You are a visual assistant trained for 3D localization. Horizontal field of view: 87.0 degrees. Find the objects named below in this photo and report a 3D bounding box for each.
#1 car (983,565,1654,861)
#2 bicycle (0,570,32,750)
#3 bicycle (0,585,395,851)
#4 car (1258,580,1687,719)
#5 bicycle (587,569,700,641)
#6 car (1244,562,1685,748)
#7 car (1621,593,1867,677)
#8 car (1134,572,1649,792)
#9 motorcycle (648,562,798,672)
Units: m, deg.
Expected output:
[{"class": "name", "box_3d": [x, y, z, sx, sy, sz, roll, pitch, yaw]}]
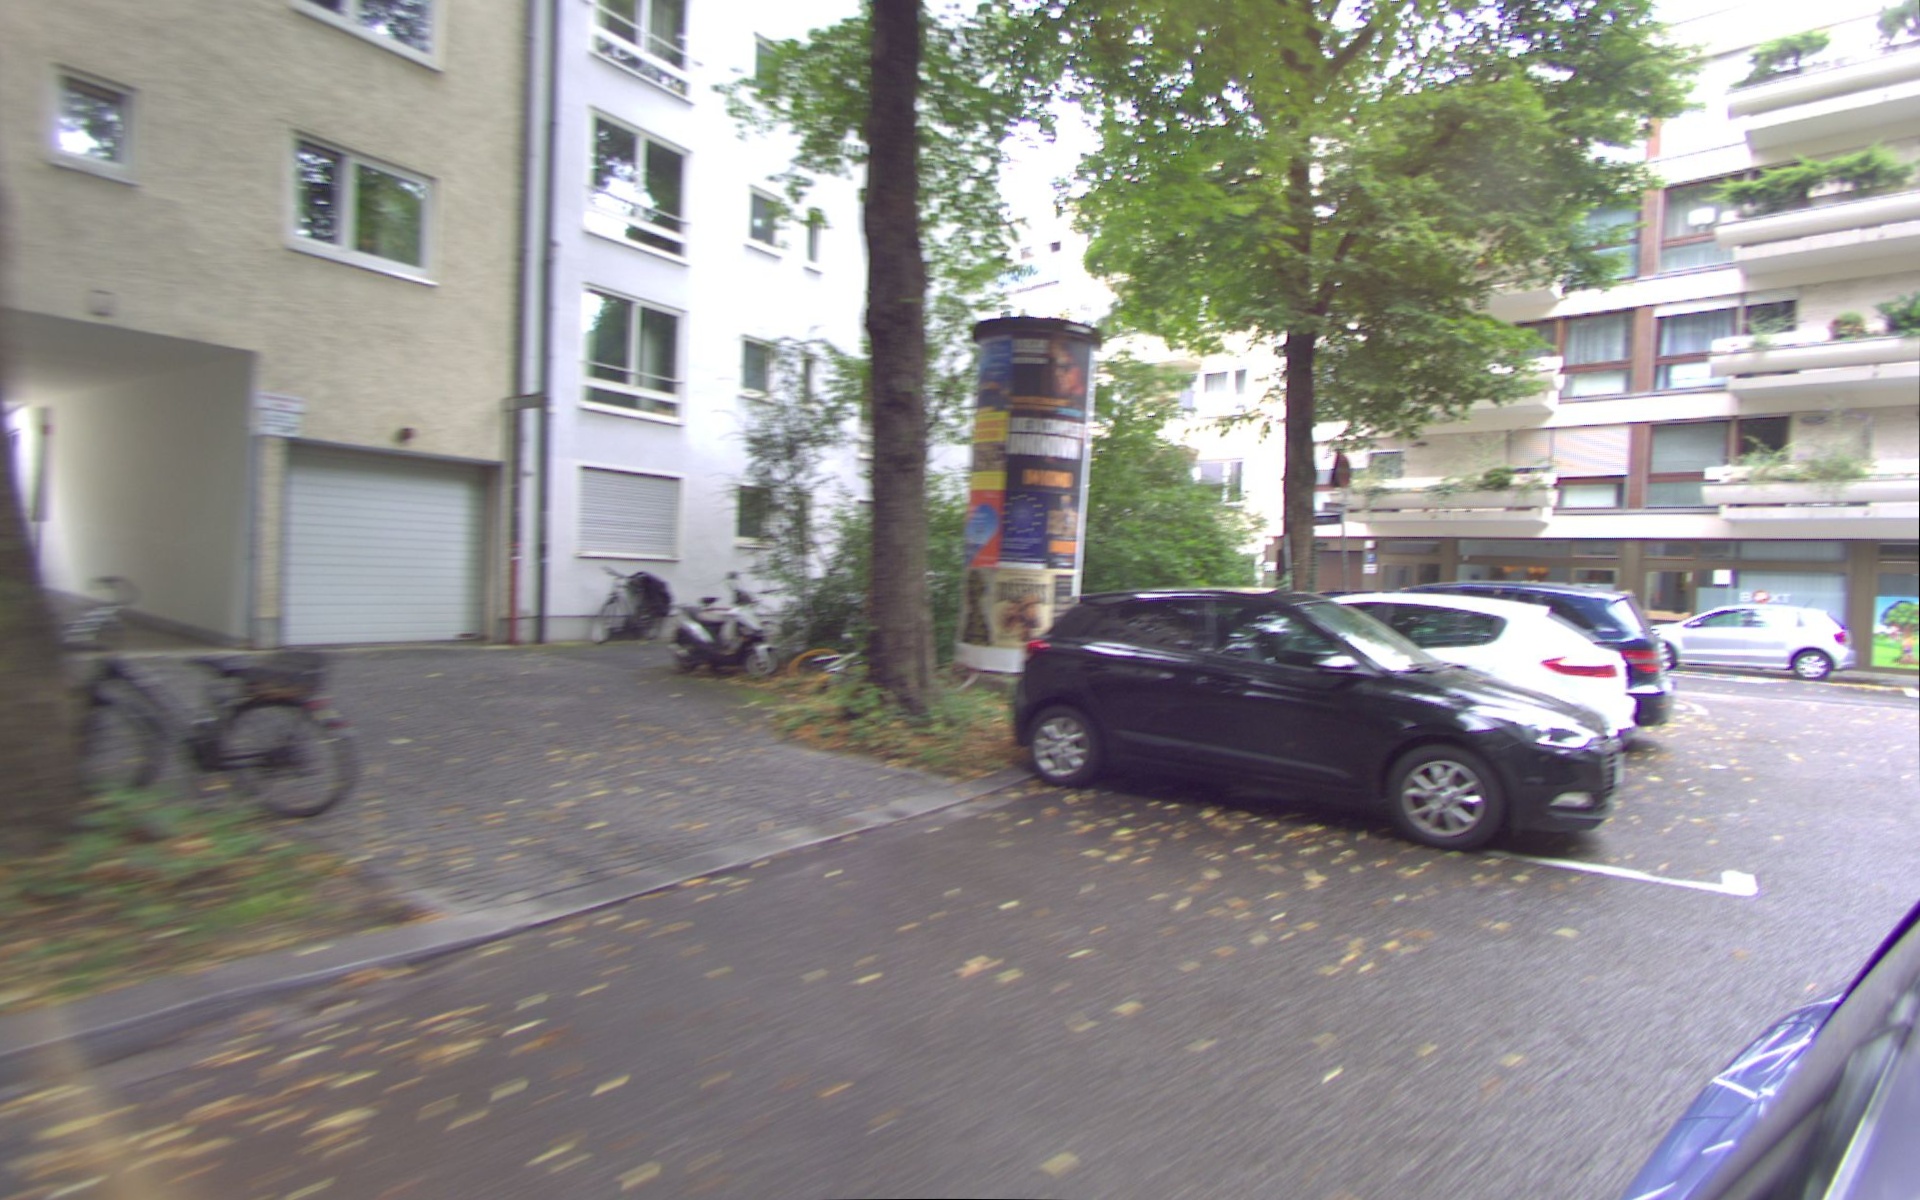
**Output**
[{"class": "car", "box_3d": [2.304, 0.524, 7.069, 4.075, 1.411, 1.711, 3, 2, 39]}, {"class": "bicycle", "box_3d": [-6.977, 0.352, 6.717, 1.857, 1.138, 0.536, 2, 1, 25]}, {"class": "bicycle", "box_3d": [-3.999, 0.548, 5.125, 1.834, 1.178, 0.767, 2, 1, 0]}, {"class": "car", "box_3d": [6.549, 0.512, 13.276, 4.700, 1.394, 1.937, 3, 2, 33]}, {"class": "bicycle", "box_3d": [-4.985, 0.063, 16.018, 0.536, 1.035, 1.680, 6, 4, 35]}, {"class": "car", "box_3d": [5.303, 0.436, 10.868, 3.963, 1.574, 1.733, 3, 2, 37]}, {"class": "car", "box_3d": [15.867, 0.666, 20.628, 3.818, 1.439, 1.542, 3, 0, 42]}, {"class": "car", "box_3d": [3.756, 0.546, 9.098, 3.921, 1.465, 1.805, 3, 2, 33]}, {"class": "motorcycle", "box_3d": [-2.897, 0.174, 12.333, 1.792, 1.212, 0.684, 3, 2, 30]}]
